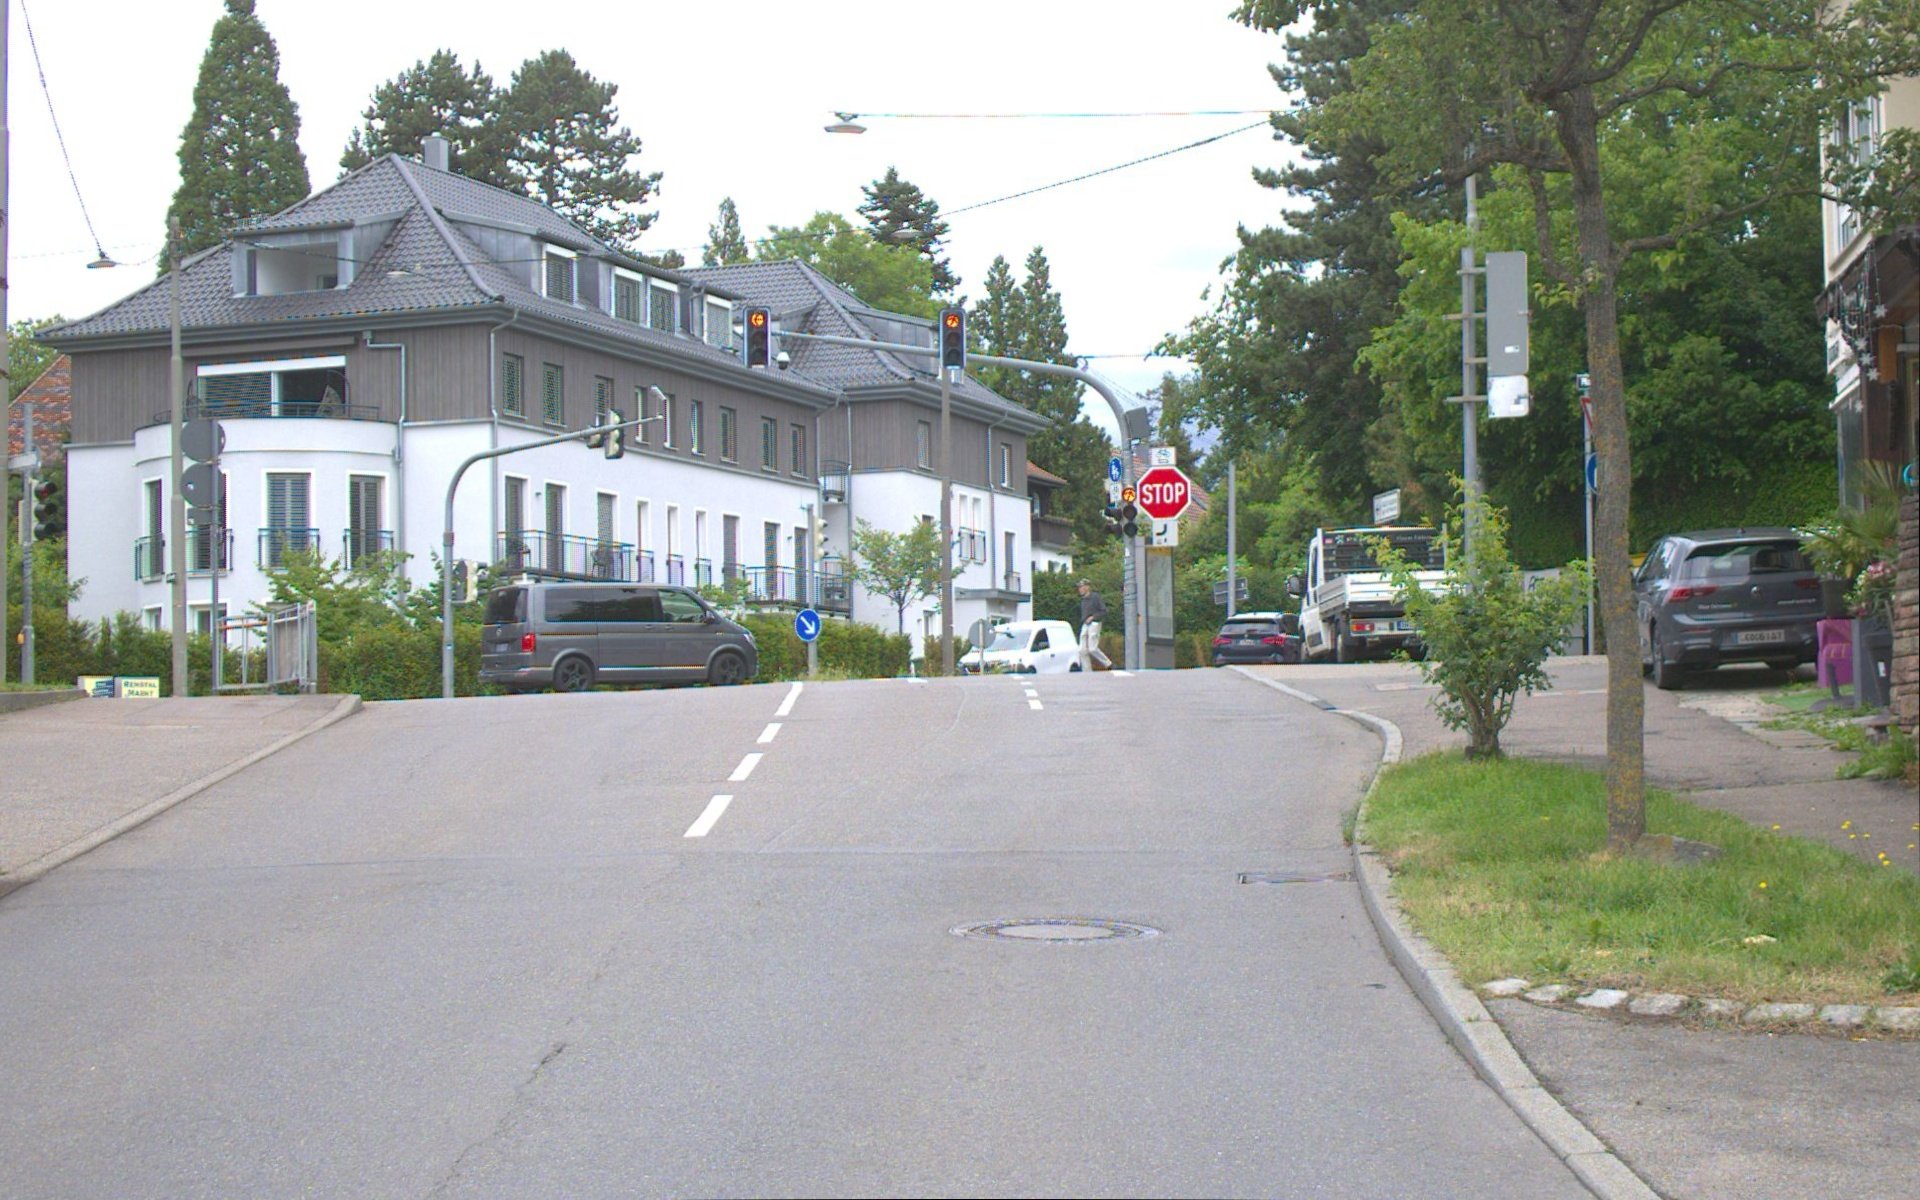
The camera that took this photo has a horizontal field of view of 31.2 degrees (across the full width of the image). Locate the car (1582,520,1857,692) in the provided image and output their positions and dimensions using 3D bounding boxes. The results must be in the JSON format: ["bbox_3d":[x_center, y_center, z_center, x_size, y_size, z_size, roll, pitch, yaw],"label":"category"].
[{"bbox_3d":[7.348,0.042,33.676,1.848,1.467,4.385,-3,0,3],"label":"car"}]

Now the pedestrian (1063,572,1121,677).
[{"bbox_3d":[2.126,0.391,55.499,0.698,1.676,0.686,-1,0,-19],"label":"pedestrian"}]

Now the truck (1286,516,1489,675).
[{"bbox_3d":[6.531,-0.002,53.260,2.183,2.188,5.881,-1,-2,-2],"label":"truck"}]

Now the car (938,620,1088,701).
[{"bbox_3d":[1.339,1.456,84.307,1.996,1.850,4.347,0,1,26],"label":"car"}]

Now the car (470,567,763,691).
[{"bbox_3d":[-5.821,0.487,58.395,4.495,2.007,2.000,0,-2,-32],"label":"car"}]

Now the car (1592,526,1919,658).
[{"bbox_3d":[10.872,-0.078,46.507,4.245,1.588,1.985,-2,-3,22],"label":"car"}]

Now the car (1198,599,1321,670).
[{"bbox_3d":[7.014,0.782,80.063,2.155,1.486,4.709,-1,1,13],"label":"car"}]
